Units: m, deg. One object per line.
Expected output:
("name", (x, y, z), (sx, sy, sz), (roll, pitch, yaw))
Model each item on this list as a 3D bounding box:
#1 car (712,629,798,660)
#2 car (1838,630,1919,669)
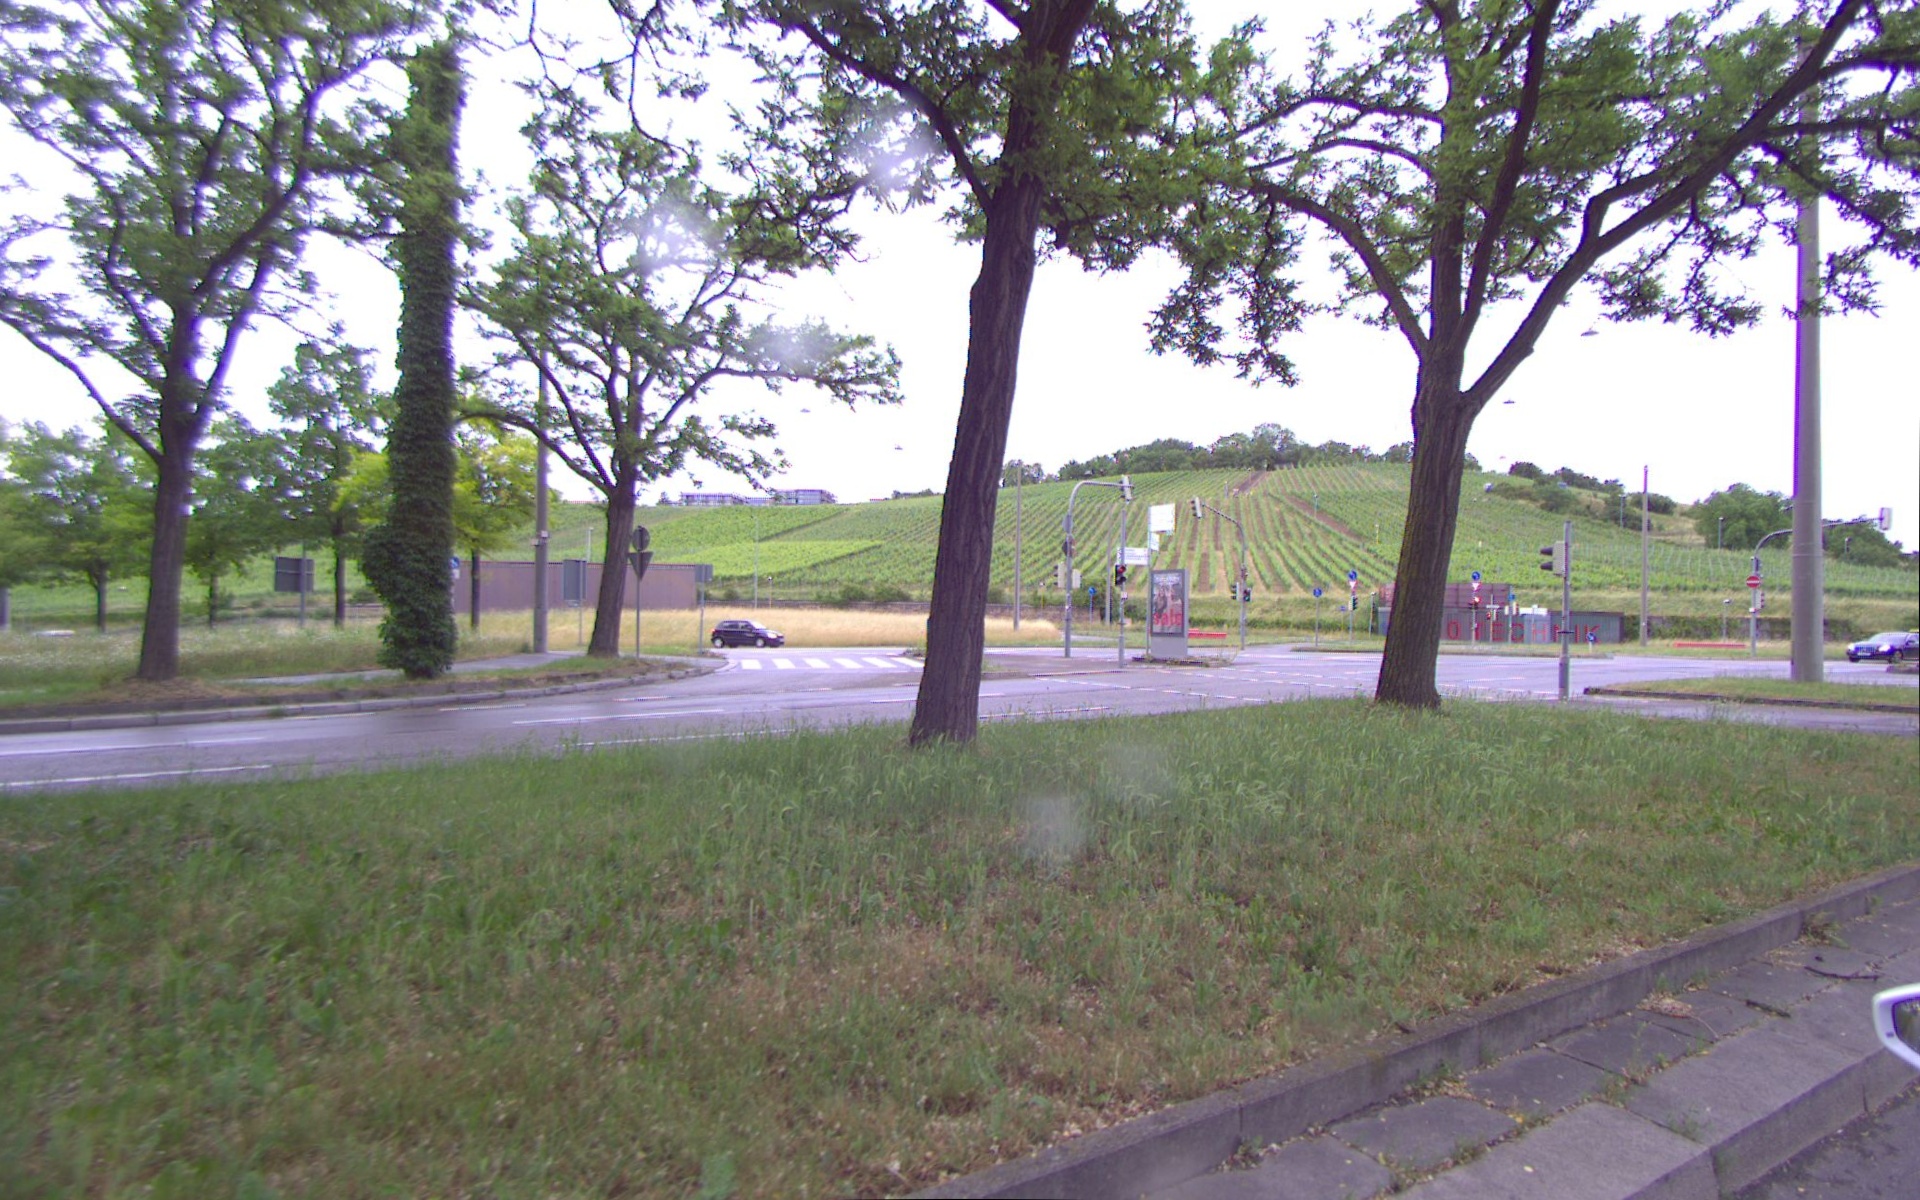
("car", (-10.636, 2.273, 52.133), (3.919, 1.307, 1.800), (3, 1, 15))
("car", (43.920, 2.359, 47.603), (4.505, 1.645, 1.823), (2, 1, -25))
